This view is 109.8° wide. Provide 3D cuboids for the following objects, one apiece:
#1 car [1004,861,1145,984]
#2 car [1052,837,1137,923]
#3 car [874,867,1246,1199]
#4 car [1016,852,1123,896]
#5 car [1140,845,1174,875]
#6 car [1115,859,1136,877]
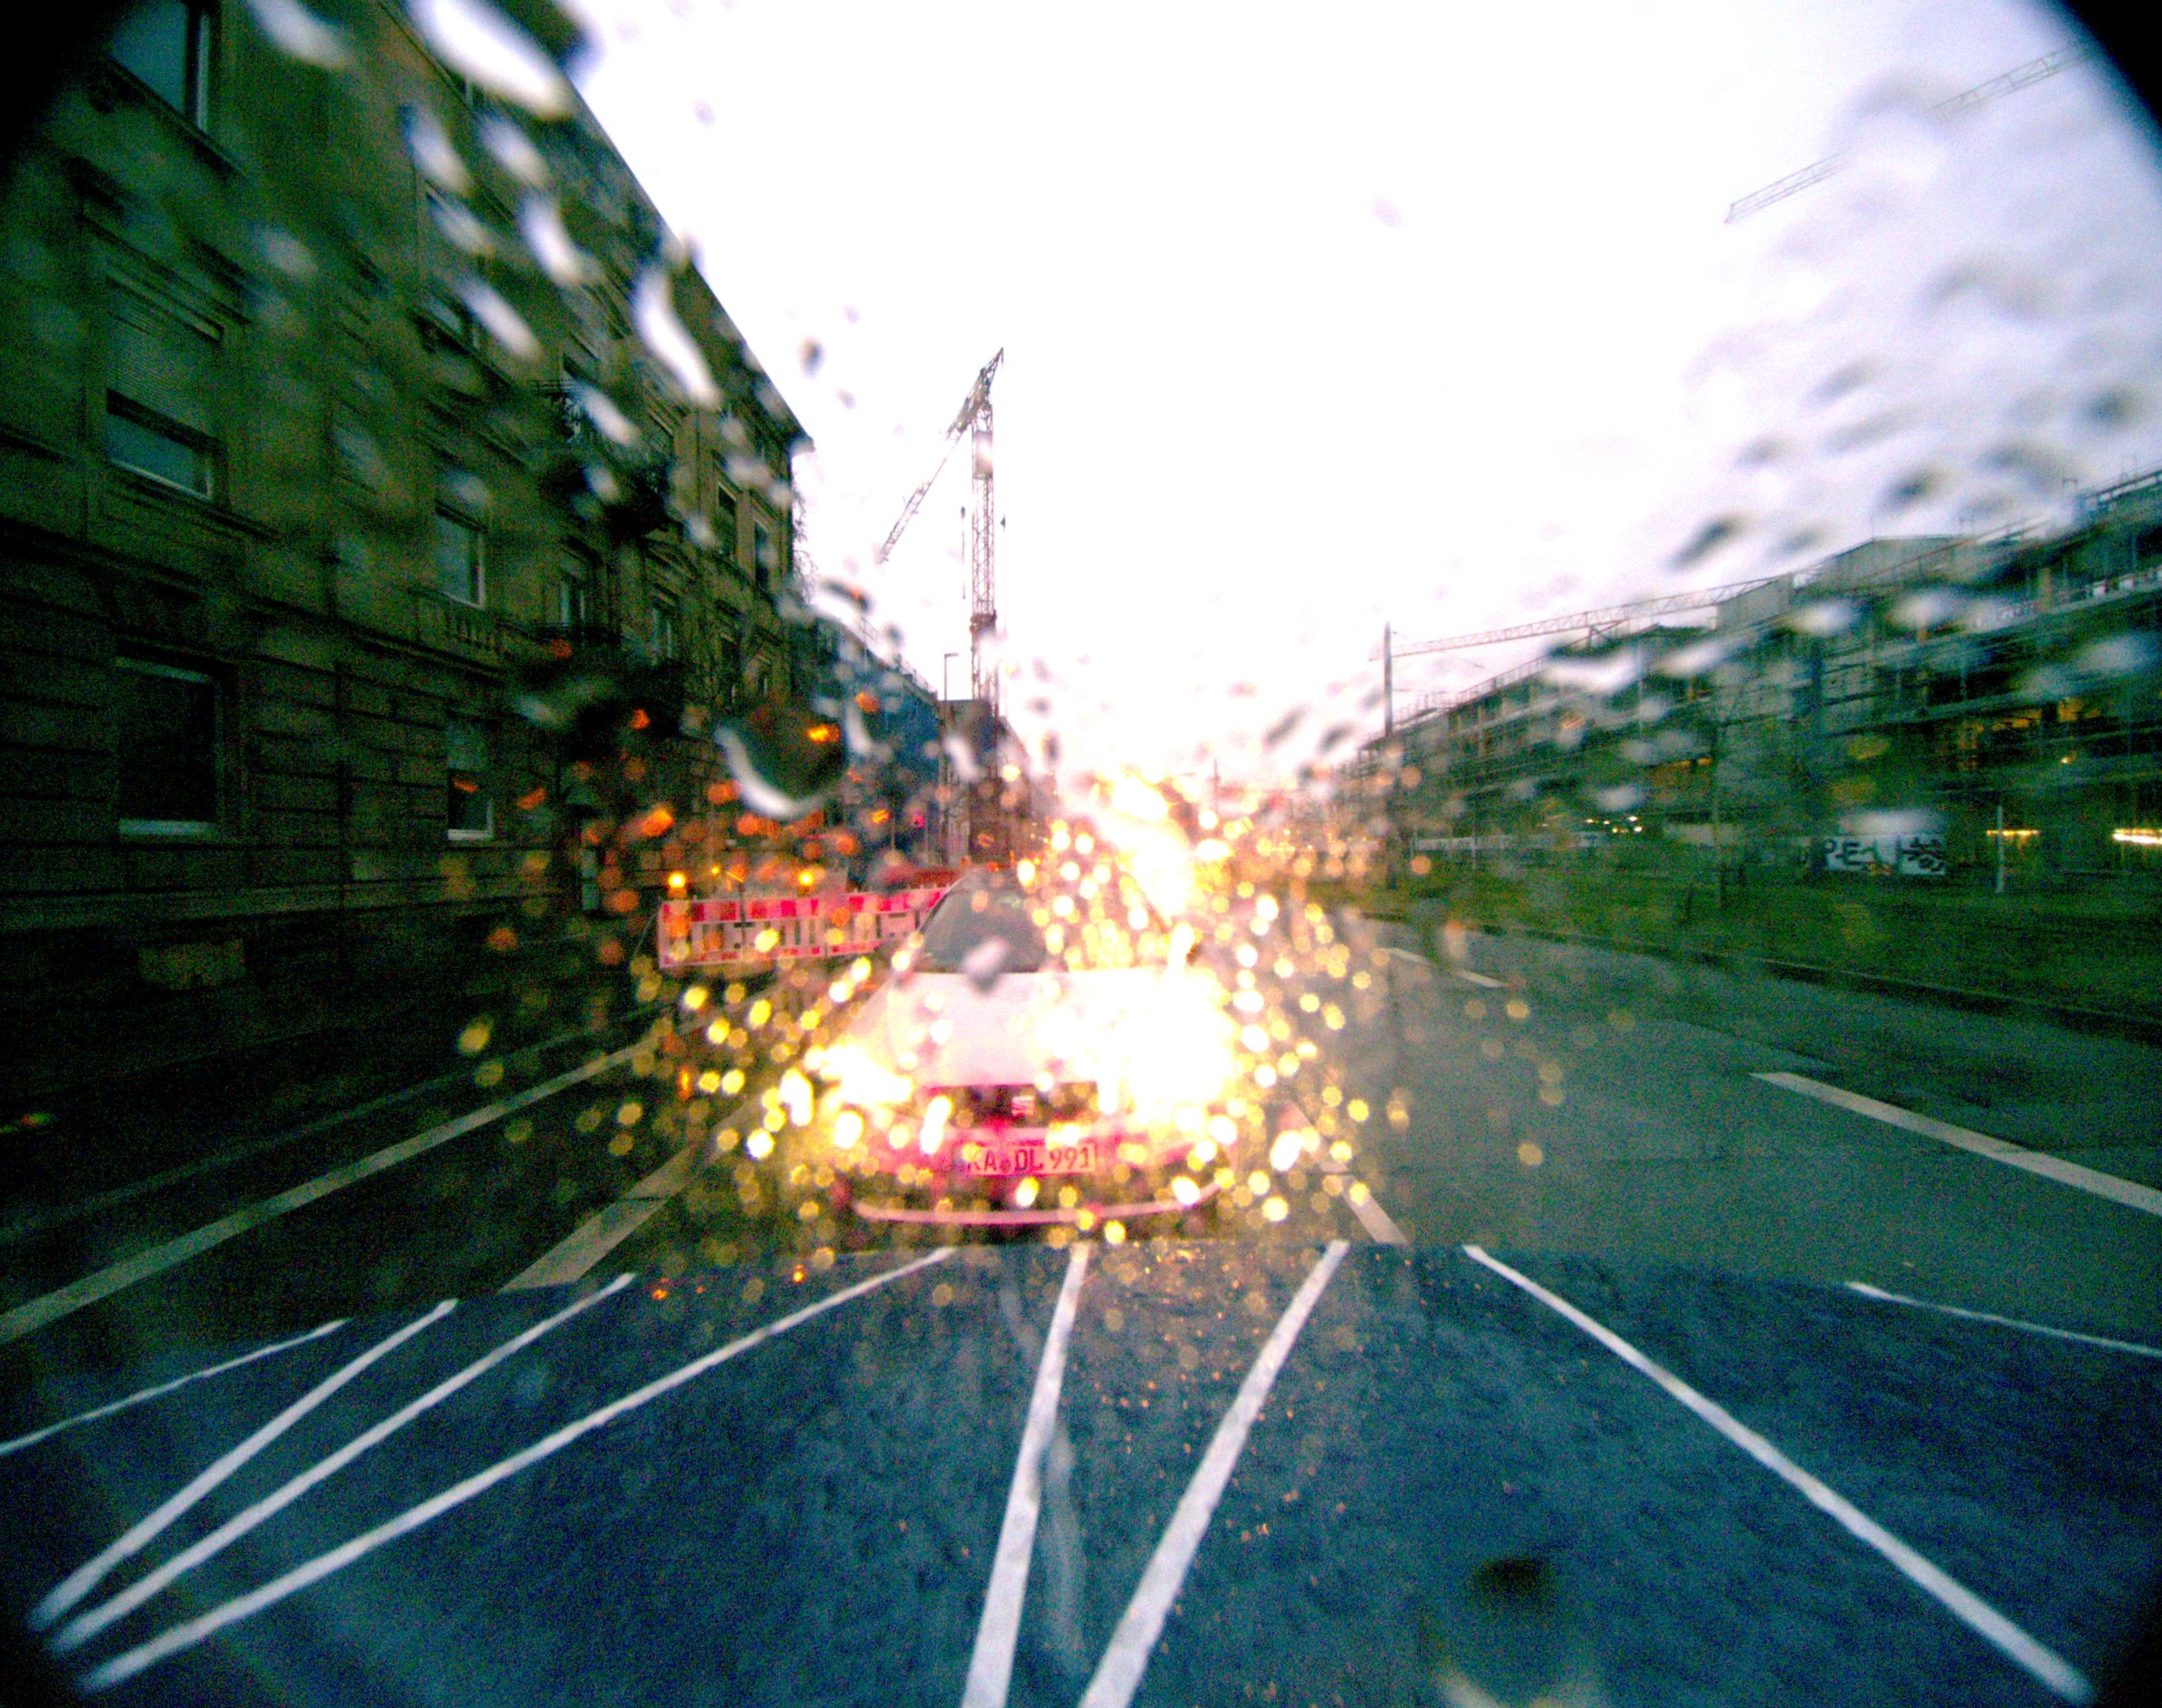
[{"bbox_3d":[-0.126,0.900,11.769,1.764,1.443,3.999,-2,1,-1],"label":"car"},{"bbox_3d":[0.266,0.580,19.268,1.858,1.886,3.999,-2,1,-1],"label":"car"},{"bbox_3d":[-0.139,0.908,5.712,1.764,1.443,3.999,-2,1,-1],"label":"car"},{"bbox_3d":[-0.499,0.817,32.022,4.321,1.644,1.845,-2,1,-2],"label":"car"},{"bbox_3d":[4.752,0.353,48.120,1.857,1.723,4.000,-2,1,2],"label":"car"},{"bbox_3d":[4.431,1.361,75.871,1.844,1.547,3.999,-2,1,1],"label":"car"}]
